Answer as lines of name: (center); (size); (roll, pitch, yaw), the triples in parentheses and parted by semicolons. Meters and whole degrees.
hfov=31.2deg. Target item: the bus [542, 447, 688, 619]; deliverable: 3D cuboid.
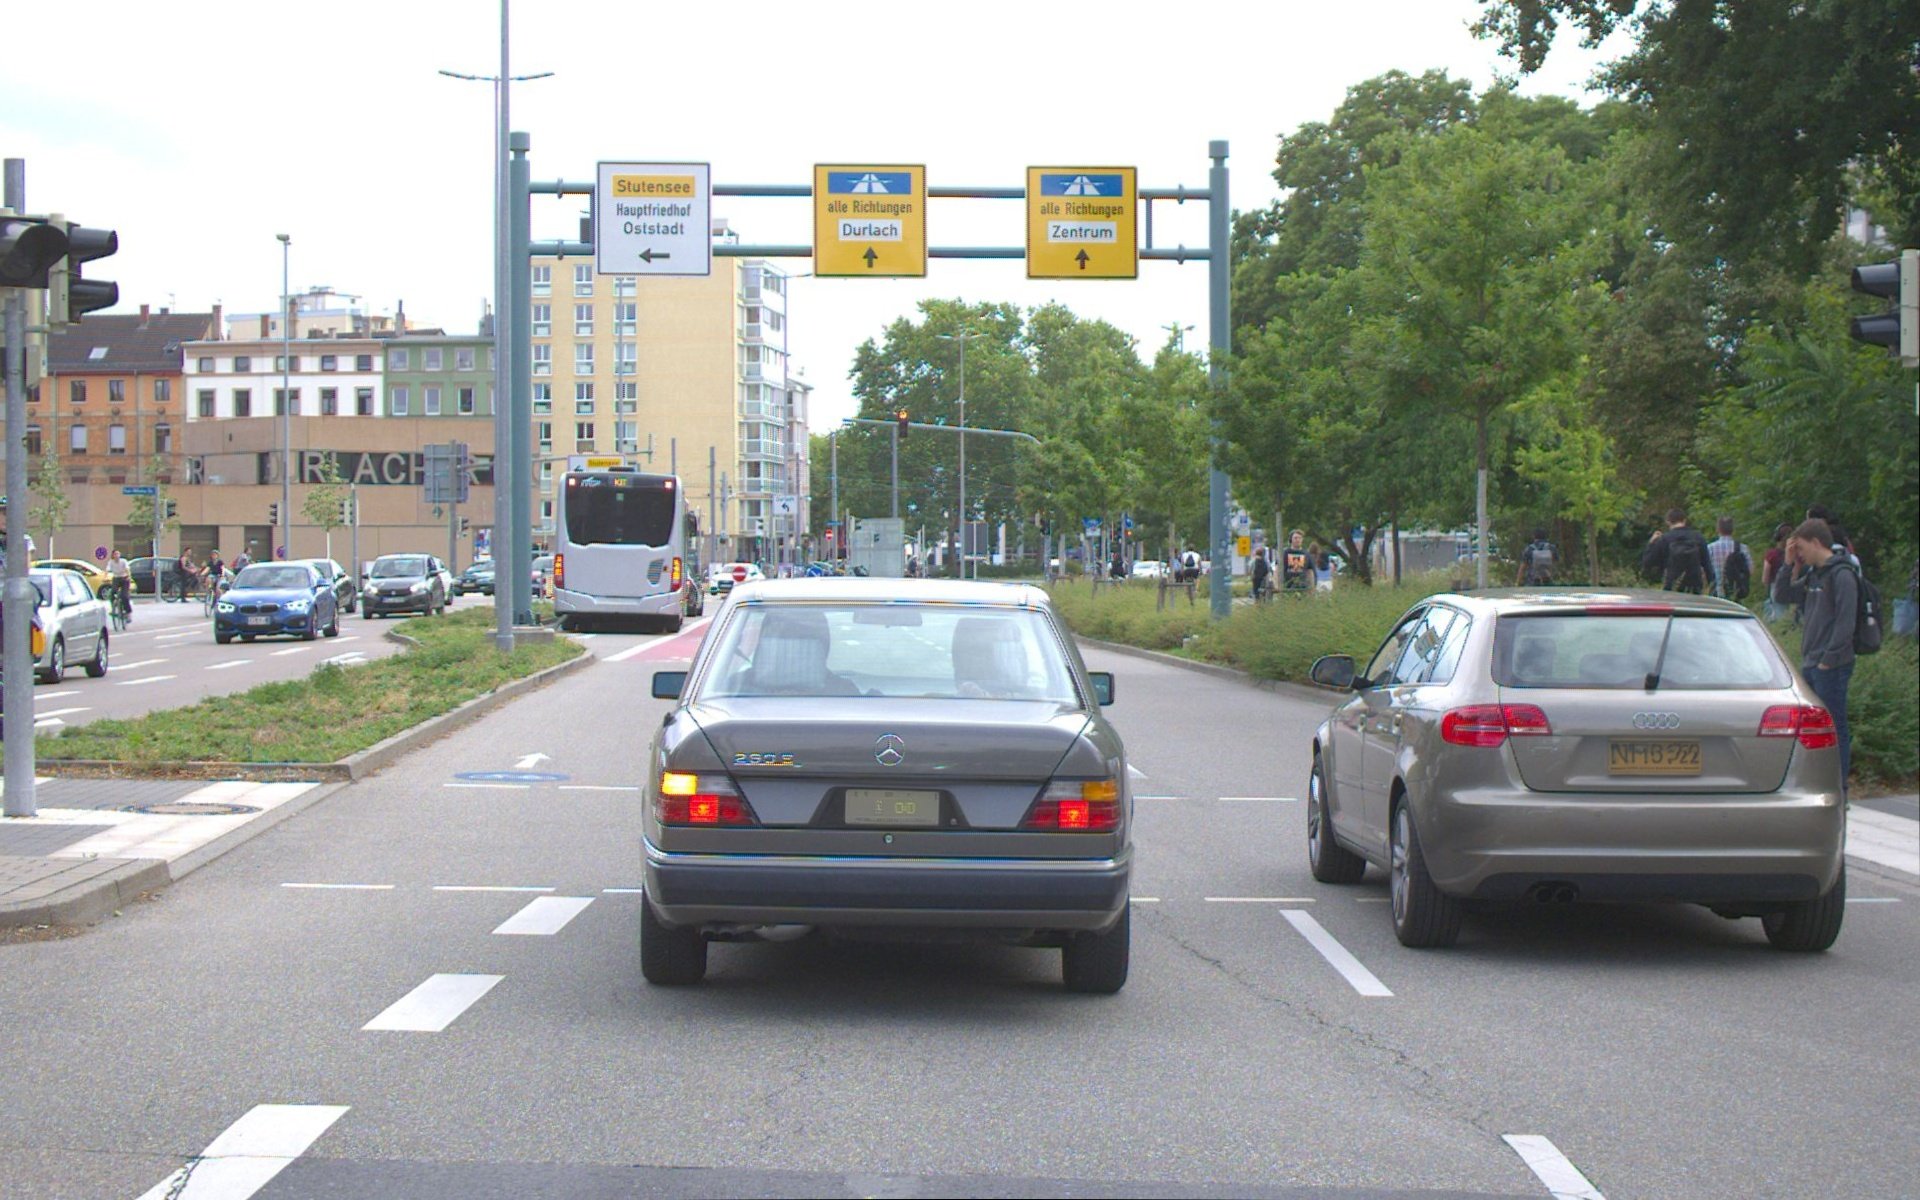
bus: (-7.107, -1.394, 71.685); (2.831, 3.379, 8.184); (0, 1, -5)

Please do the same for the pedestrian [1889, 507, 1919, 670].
pedestrian: (9.539, -0.118, 33.668); (0.635, 1.578, 0.785); (0, 1, -2)

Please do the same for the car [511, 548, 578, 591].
car: (-14.652, -1.090, 121.361); (1.801, 1.484, 4.289); (0, 1, 1)

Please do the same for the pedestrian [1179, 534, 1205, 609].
pedestrian: (6.261, -0.776, 92.745); (0.614, 2.007, 0.597); (0, 1, -4)

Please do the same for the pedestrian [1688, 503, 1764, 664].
pedestrian: (8.276, -0.183, 37.162); (0.619, 1.729, 0.814); (0, 1, -2)

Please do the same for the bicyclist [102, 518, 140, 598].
bicyclist: (-18.602, -0.937, 76.254); (0.618, 1.776, 0.811); (0, 1, 2)

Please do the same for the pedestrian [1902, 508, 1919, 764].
pedestrian: (6.853, 0.247, 23.328); (0.656, 1.739, 0.780); (0, 1, -5)

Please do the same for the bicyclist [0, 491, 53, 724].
bicyclist: (-6.601, 0.043, 23.559); (0.572, 1.568, 0.699); (0, 1, 1)

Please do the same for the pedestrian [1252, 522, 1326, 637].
pedestrian: (5.268, -0.341, 55.063); (0.935, 1.824, 0.886); (0, 1, 25)

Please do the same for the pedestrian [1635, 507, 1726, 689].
pedestrian: (7.282, -0.028, 34.768); (0.693, 1.815, 0.954); (0, 1, -2)

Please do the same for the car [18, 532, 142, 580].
car: (-29.748, -1.488, 116.280); (3.855, 1.512, 1.661); (1, 1, -7)

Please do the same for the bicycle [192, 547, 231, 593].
bicycle: (-19.277, -0.771, 88.551); (0.581, 1.166, 1.964); (0, 1, 0)

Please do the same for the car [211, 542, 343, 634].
car: (-12.283, -0.246, 62.028); (1.801, 1.506, 4.105); (0, 2, -3)

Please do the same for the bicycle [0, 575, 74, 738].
bicycle: (-6.606, 0.370, 23.484); (0.573, 1.052, 1.926); (0, 1, 1)

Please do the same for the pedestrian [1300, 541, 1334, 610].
pedestrian: (7.617, -0.530, 73.326); (0.657, 1.465, 0.561); (0, 1, 14)

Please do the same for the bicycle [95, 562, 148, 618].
bicycle: (-18.591, -0.239, 76.258); (0.618, 1.213, 2.045); (0, 1, 2)

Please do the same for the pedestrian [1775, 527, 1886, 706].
pedestrian: (7.903, 0.140, 31.231); (0.775, 1.597, 0.812); (0, 1, -2)

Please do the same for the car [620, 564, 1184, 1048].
car: (-0.264, 0.624, 12.844); (1.761, 1.484, 4.171); (0, 1, -2)

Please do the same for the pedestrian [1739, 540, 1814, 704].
pedestrian: (8.314, 0.217, 35.021); (0.555, 1.649, 0.753); (0, 1, -2)

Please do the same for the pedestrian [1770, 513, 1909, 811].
pedestrian: (5.174, 0.355, 20.247); (0.601, 1.729, 0.654); (0, 1, -5)

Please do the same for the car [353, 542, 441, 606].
car: (-13.480, -0.641, 82.492); (1.571, 1.484, 3.637); (-1, 1, -1)

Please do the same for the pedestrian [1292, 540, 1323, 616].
pedestrian: (7.864, -0.501, 77.849); (0.647, 1.707, 0.561); (0, 1, 12)

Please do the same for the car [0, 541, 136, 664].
car: (-11.938, -0.002, 43.814); (1.801, 1.484, 4.289); (0, 1, 1)

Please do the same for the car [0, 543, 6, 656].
car: (-14.856, 0.017, 48.303); (1.864, 1.646, 4.423); (0, 1, -3)

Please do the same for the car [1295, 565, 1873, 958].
car: (2.529, 0.590, 14.798); (1.724, 1.452, 3.736); (0, 1, -1)

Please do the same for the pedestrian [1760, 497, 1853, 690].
pedestrian: (8.057, -0.065, 32.747); (0.656, 1.815, 0.812); (0, 1, -2)

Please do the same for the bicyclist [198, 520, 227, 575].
bicyclist: (-19.261, -1.363, 88.574); (0.580, 1.414, 0.811); (0, 1, 0)

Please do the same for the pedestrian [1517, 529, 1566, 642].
pedestrian: (8.719, -0.224, 51.551); (0.587, 1.677, 0.748); (0, 1, -2)
